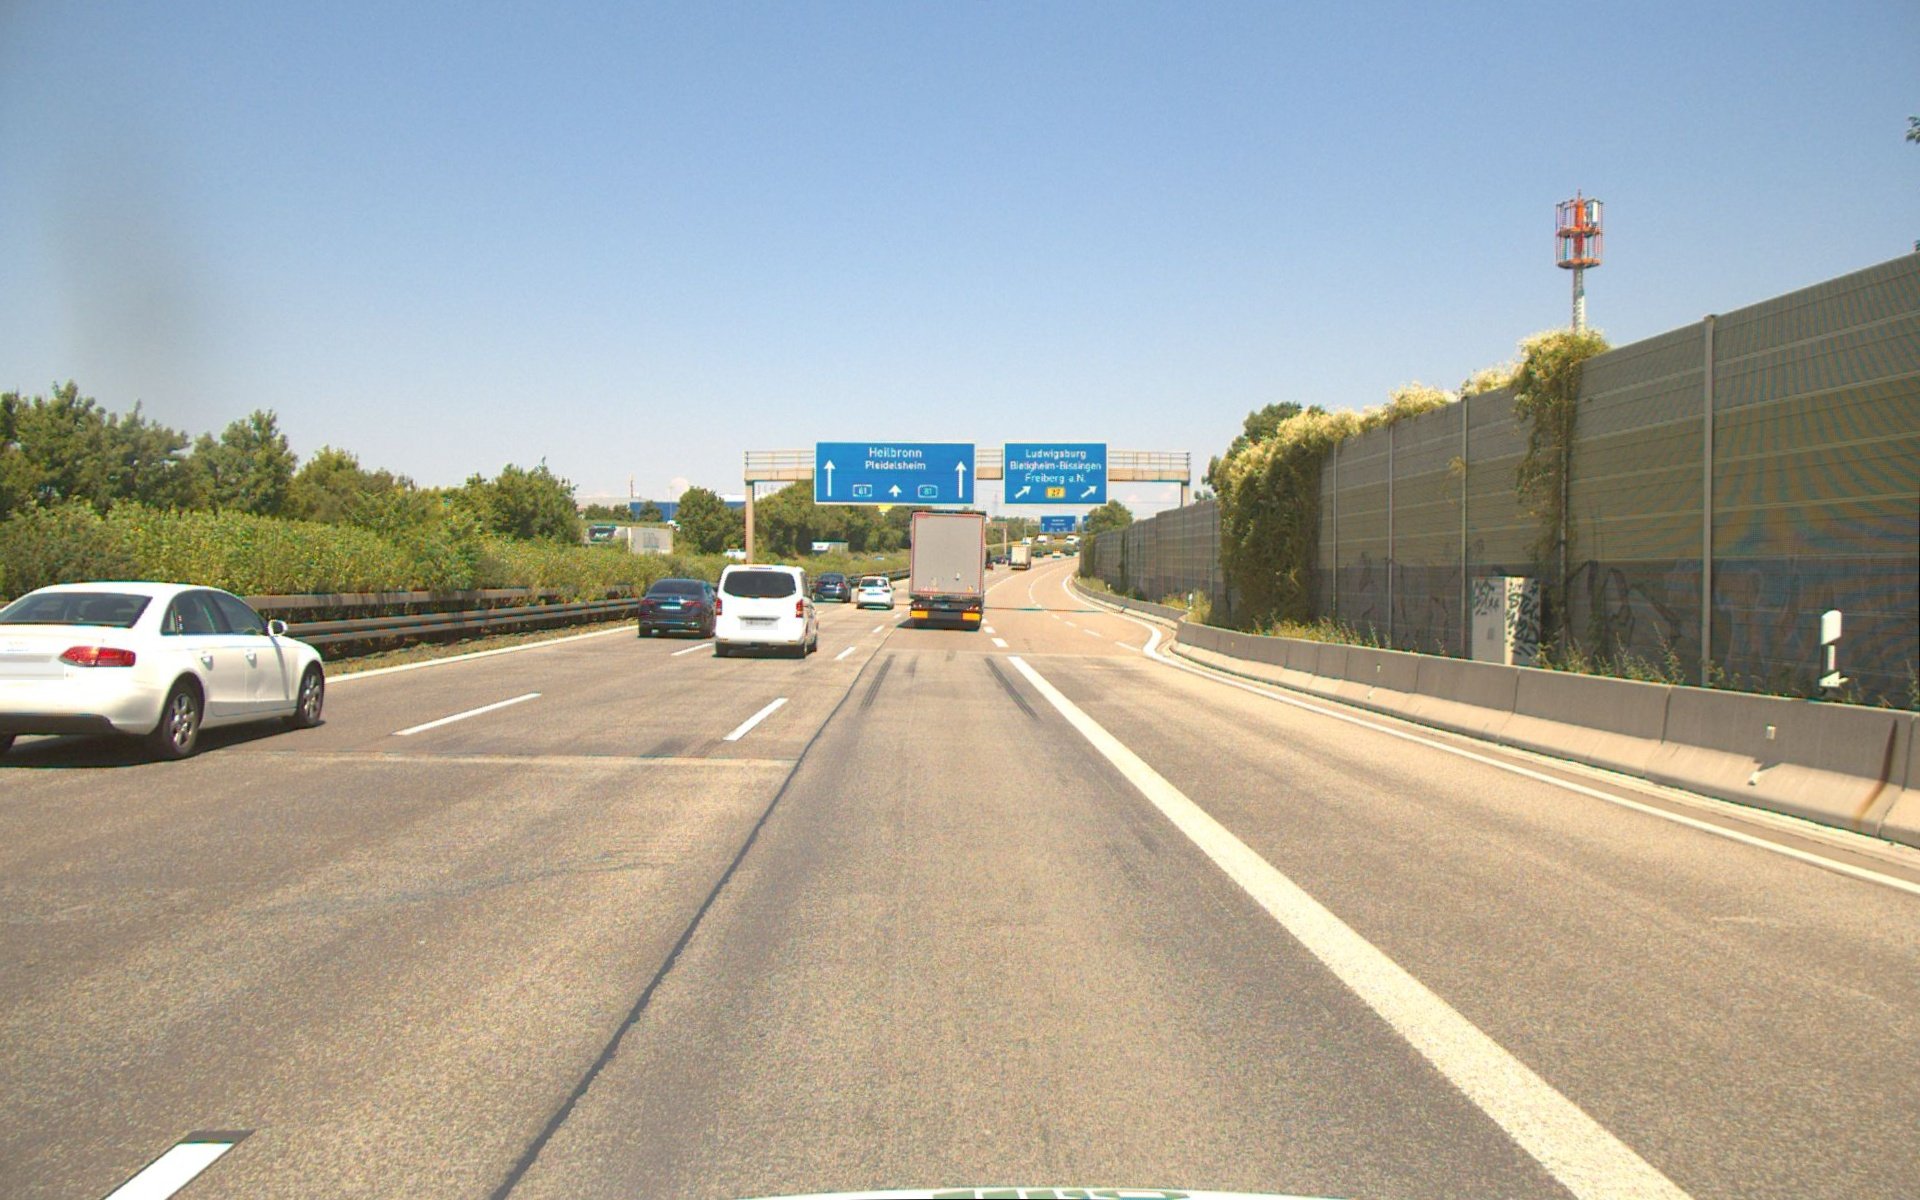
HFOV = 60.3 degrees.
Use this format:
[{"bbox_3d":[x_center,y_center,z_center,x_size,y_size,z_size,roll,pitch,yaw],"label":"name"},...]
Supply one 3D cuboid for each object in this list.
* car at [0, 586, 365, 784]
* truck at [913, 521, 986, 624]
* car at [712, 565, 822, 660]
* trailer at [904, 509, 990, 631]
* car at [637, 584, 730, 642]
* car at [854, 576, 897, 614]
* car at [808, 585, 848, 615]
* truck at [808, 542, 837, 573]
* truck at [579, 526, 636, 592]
[{"bbox_3d":[-7.213,0.626,15.034,1.838,1.465,5.124,1,0,-1],"label":"car"},{"bbox_3d":[-0.436,-1.117,69.195,2.868,4.085,7.583,0,0,0],"label":"truck"},{"bbox_3d":[-4.046,0.232,35.320,1.891,1.884,4.691,0,0,-1],"label":"car"},{"bbox_3d":[-0.438,-1.057,61.456,2.868,4.085,12.038,0,0,0],"label":"trailer"},{"bbox_3d":[-7.240,0.303,43.726,1.721,1.433,5.038,0,0,-1],"label":"car"},{"bbox_3d":[-4.299,-0.247,84.512,1.865,1.884,4.632,0,0,1],"label":"car"},{"bbox_3d":[-7.620,-0.021,95.889,1.865,1.718,4.631,0,0,1],"label":"car"},{"bbox_3d":[-18.451,-5.733,223.036,2.940,4.036,10.323,1,1,0],"label":"truck"},{"bbox_3d":[-22.996,-2.666,108.066,2.551,4.228,4.749,1,1,1],"label":"truck"}]
